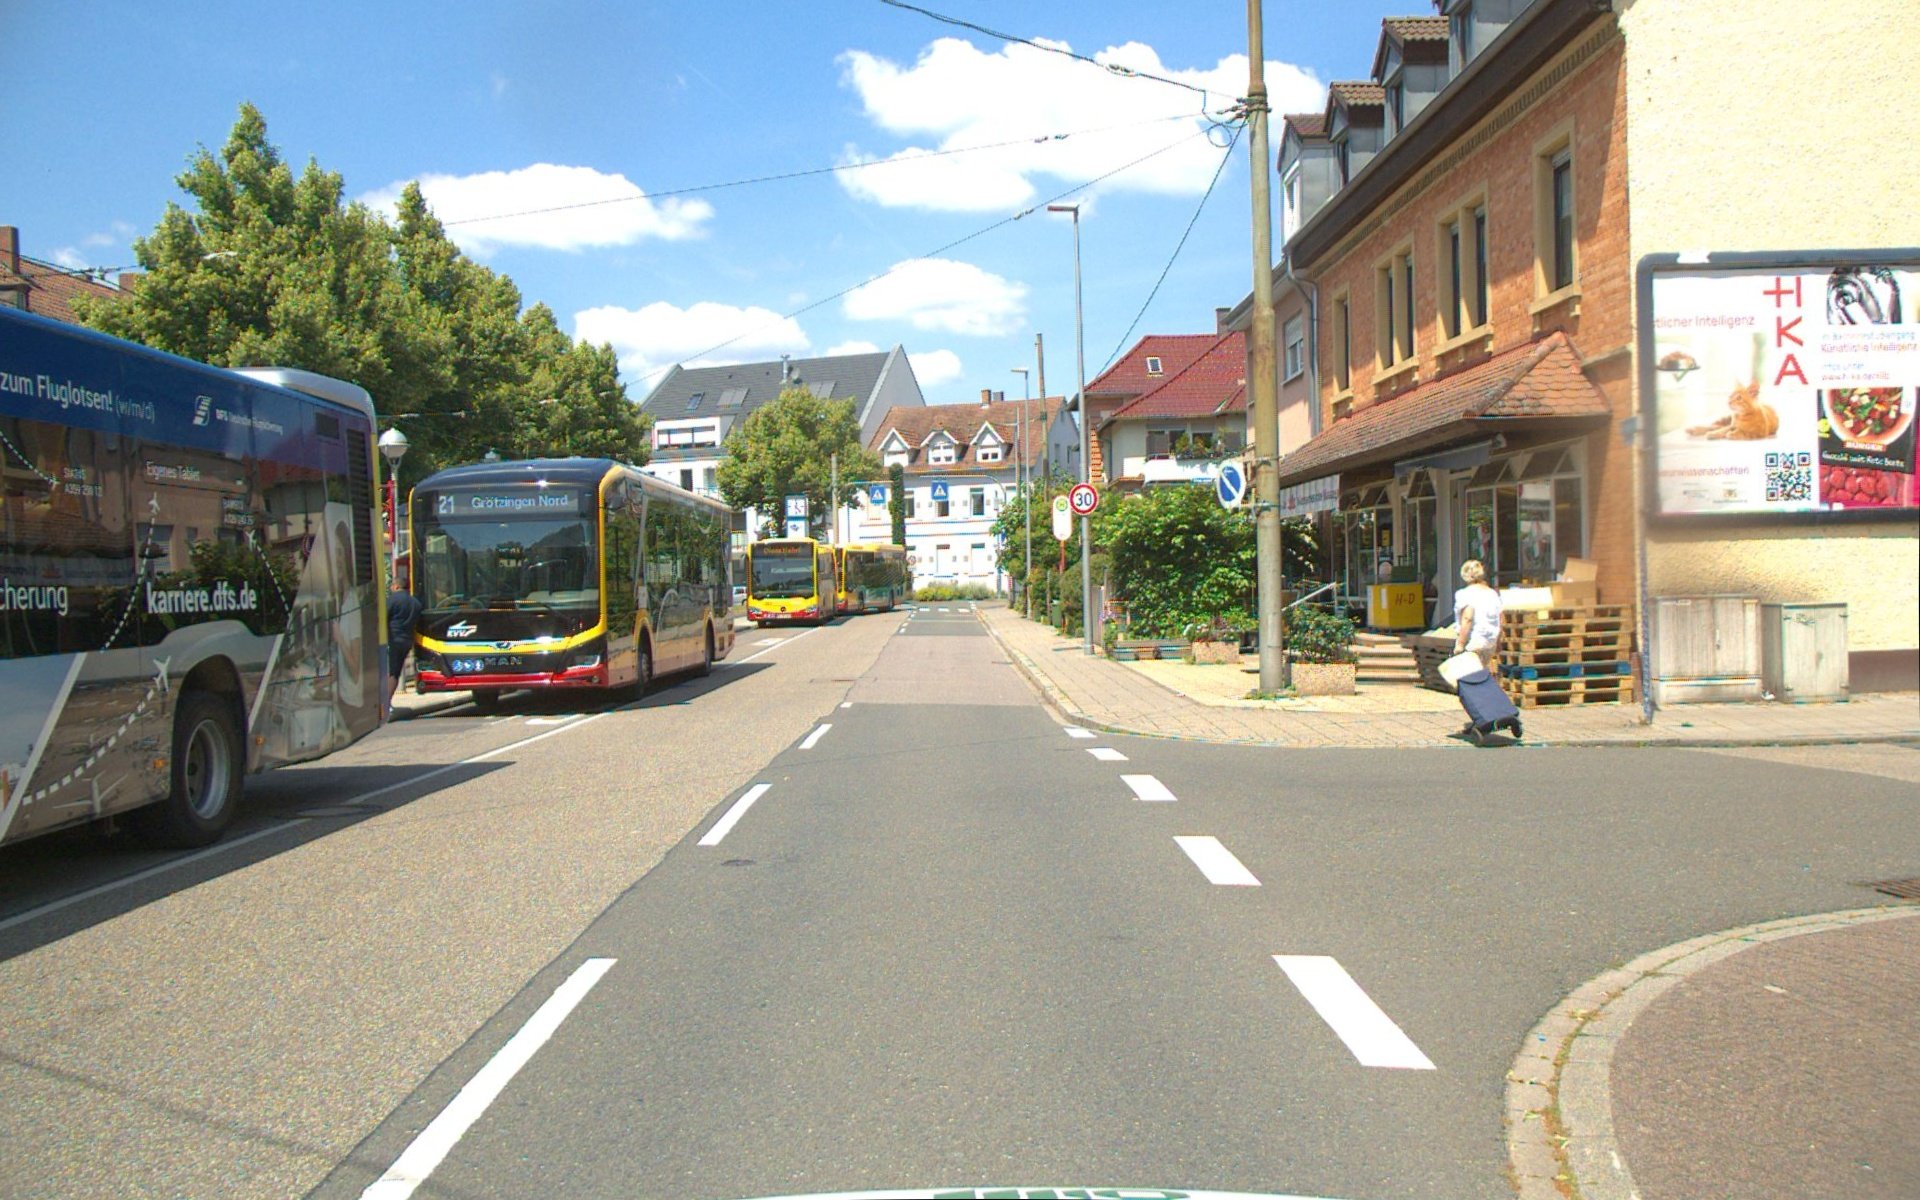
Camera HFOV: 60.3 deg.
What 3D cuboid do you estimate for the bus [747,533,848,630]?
[{"bbox_3d":[-6.003,-0.652,63.068,2.848,3.304,12.116,1,0,-1],"label":"bus"}]

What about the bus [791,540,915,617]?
[{"bbox_3d":[-4.750,-1.066,76.551,2.720,3.264,12.318,1,1,11],"label":"bus"}]

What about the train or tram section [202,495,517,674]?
[{"bbox_3d":[-14.388,-0.337,41.501,2.903,3.706,13.992,1,0,-1],"label":"train or tram section"}]

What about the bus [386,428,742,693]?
[{"bbox_3d":[-5.757,-0.411,26.819,2.838,3.304,12.195,0,-1,0],"label":"bus"}]

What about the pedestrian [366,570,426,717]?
[{"bbox_3d":[-7.071,0.538,20.738,0.589,1.808,0.380,1,-1,-43],"label":"pedestrian"}]

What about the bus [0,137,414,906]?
[{"bbox_3d":[-5.784,-0.364,7.400,2.849,3.487,12.036,1,-1,-1],"label":"bus"}]

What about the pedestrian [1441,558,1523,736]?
[{"bbox_3d":[5.090,0.449,16.123,0.690,1.670,0.660,-2,2,20],"label":"pedestrian"}]

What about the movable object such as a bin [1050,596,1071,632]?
[{"bbox_3d":[2.660,0.370,43.985,0.398,0.922,0.729,-5,-1,-4],"label":"movable object such as a bin"}]

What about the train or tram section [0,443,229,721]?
[{"bbox_3d":[-14.232,-0.242,20.364,2.903,3.706,17.349,1,0,-1],"label":"train or tram section"}]
